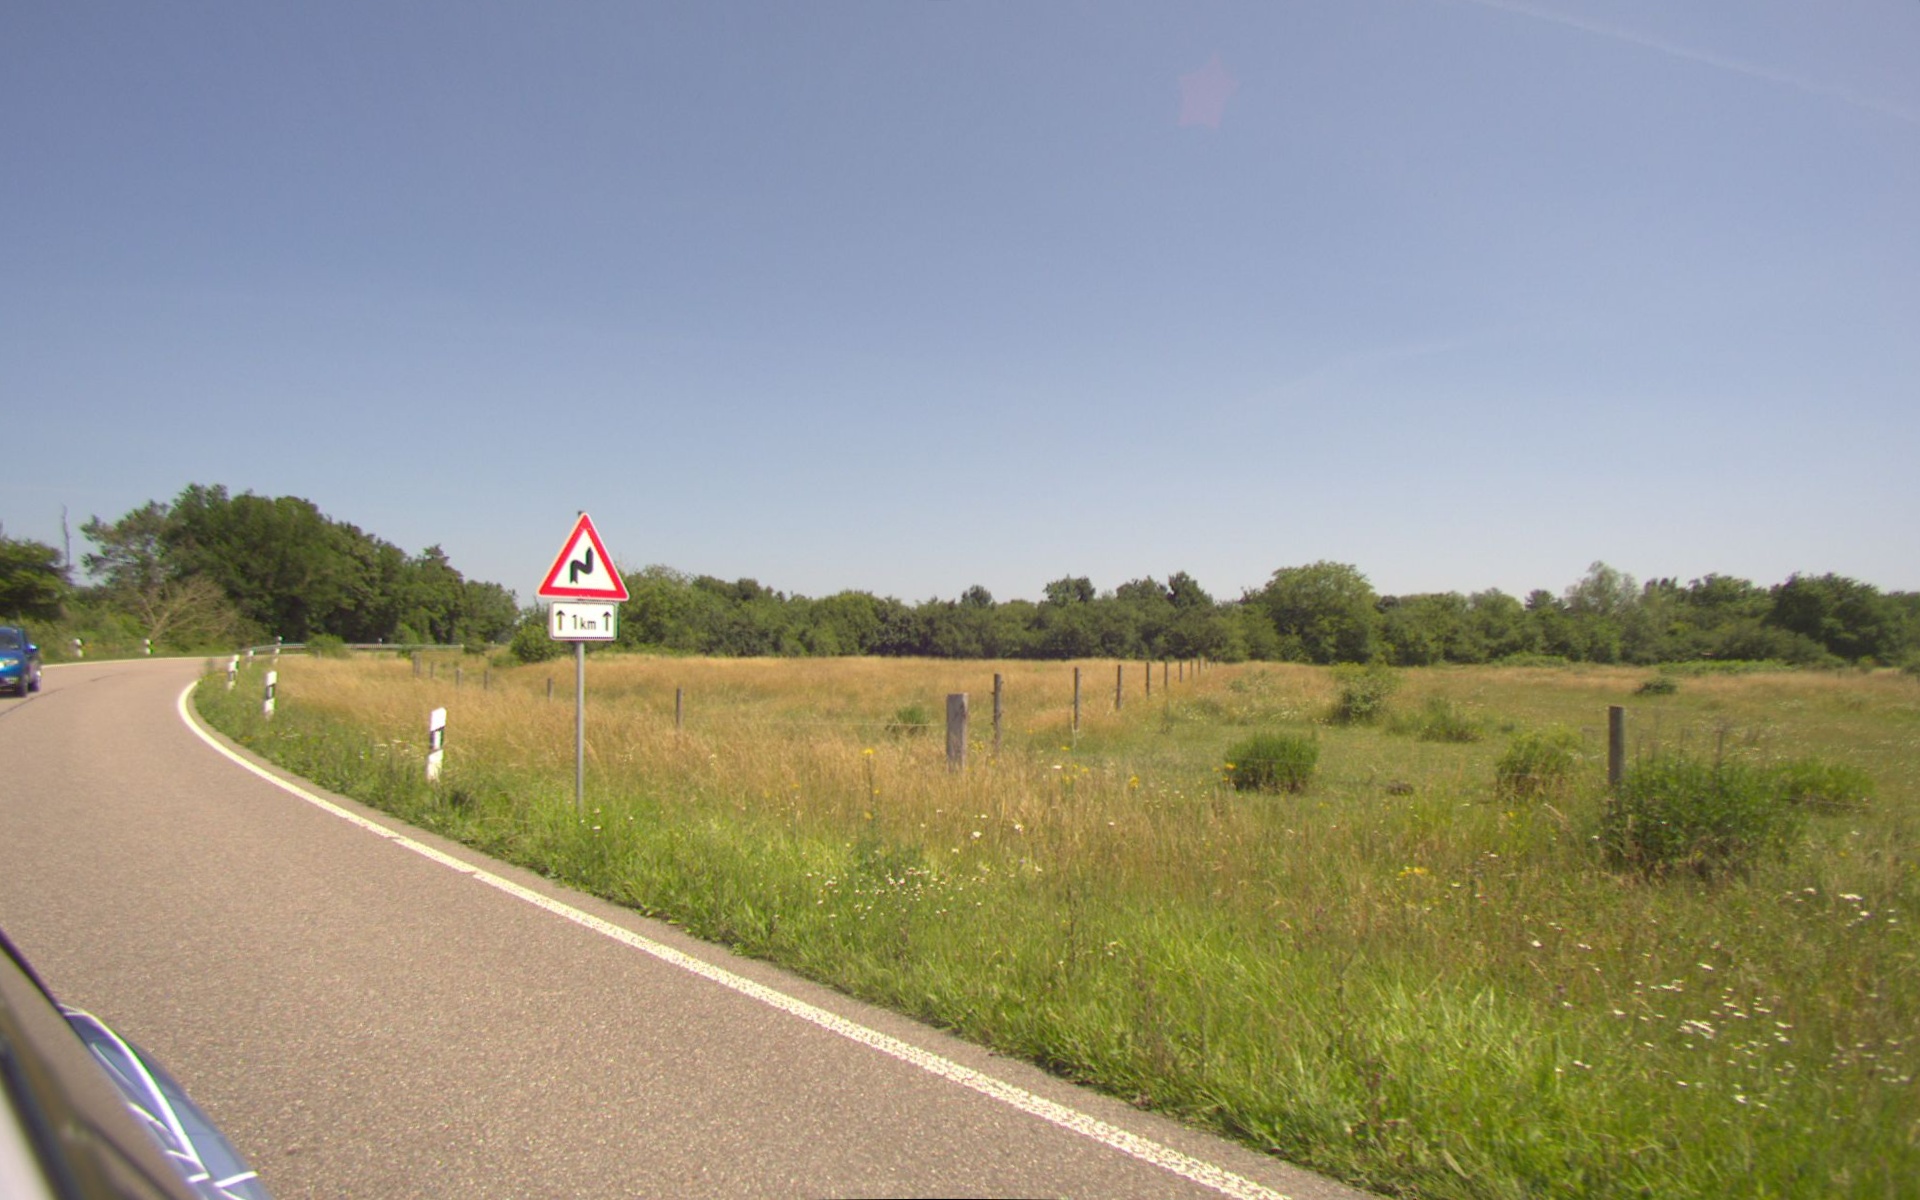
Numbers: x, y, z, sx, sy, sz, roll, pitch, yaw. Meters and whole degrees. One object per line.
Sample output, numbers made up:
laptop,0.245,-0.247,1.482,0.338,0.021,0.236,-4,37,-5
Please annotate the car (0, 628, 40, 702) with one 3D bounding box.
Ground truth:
car,-22.321,1.436,23.037,1.707,1.593,4.008,2,-3,-38
